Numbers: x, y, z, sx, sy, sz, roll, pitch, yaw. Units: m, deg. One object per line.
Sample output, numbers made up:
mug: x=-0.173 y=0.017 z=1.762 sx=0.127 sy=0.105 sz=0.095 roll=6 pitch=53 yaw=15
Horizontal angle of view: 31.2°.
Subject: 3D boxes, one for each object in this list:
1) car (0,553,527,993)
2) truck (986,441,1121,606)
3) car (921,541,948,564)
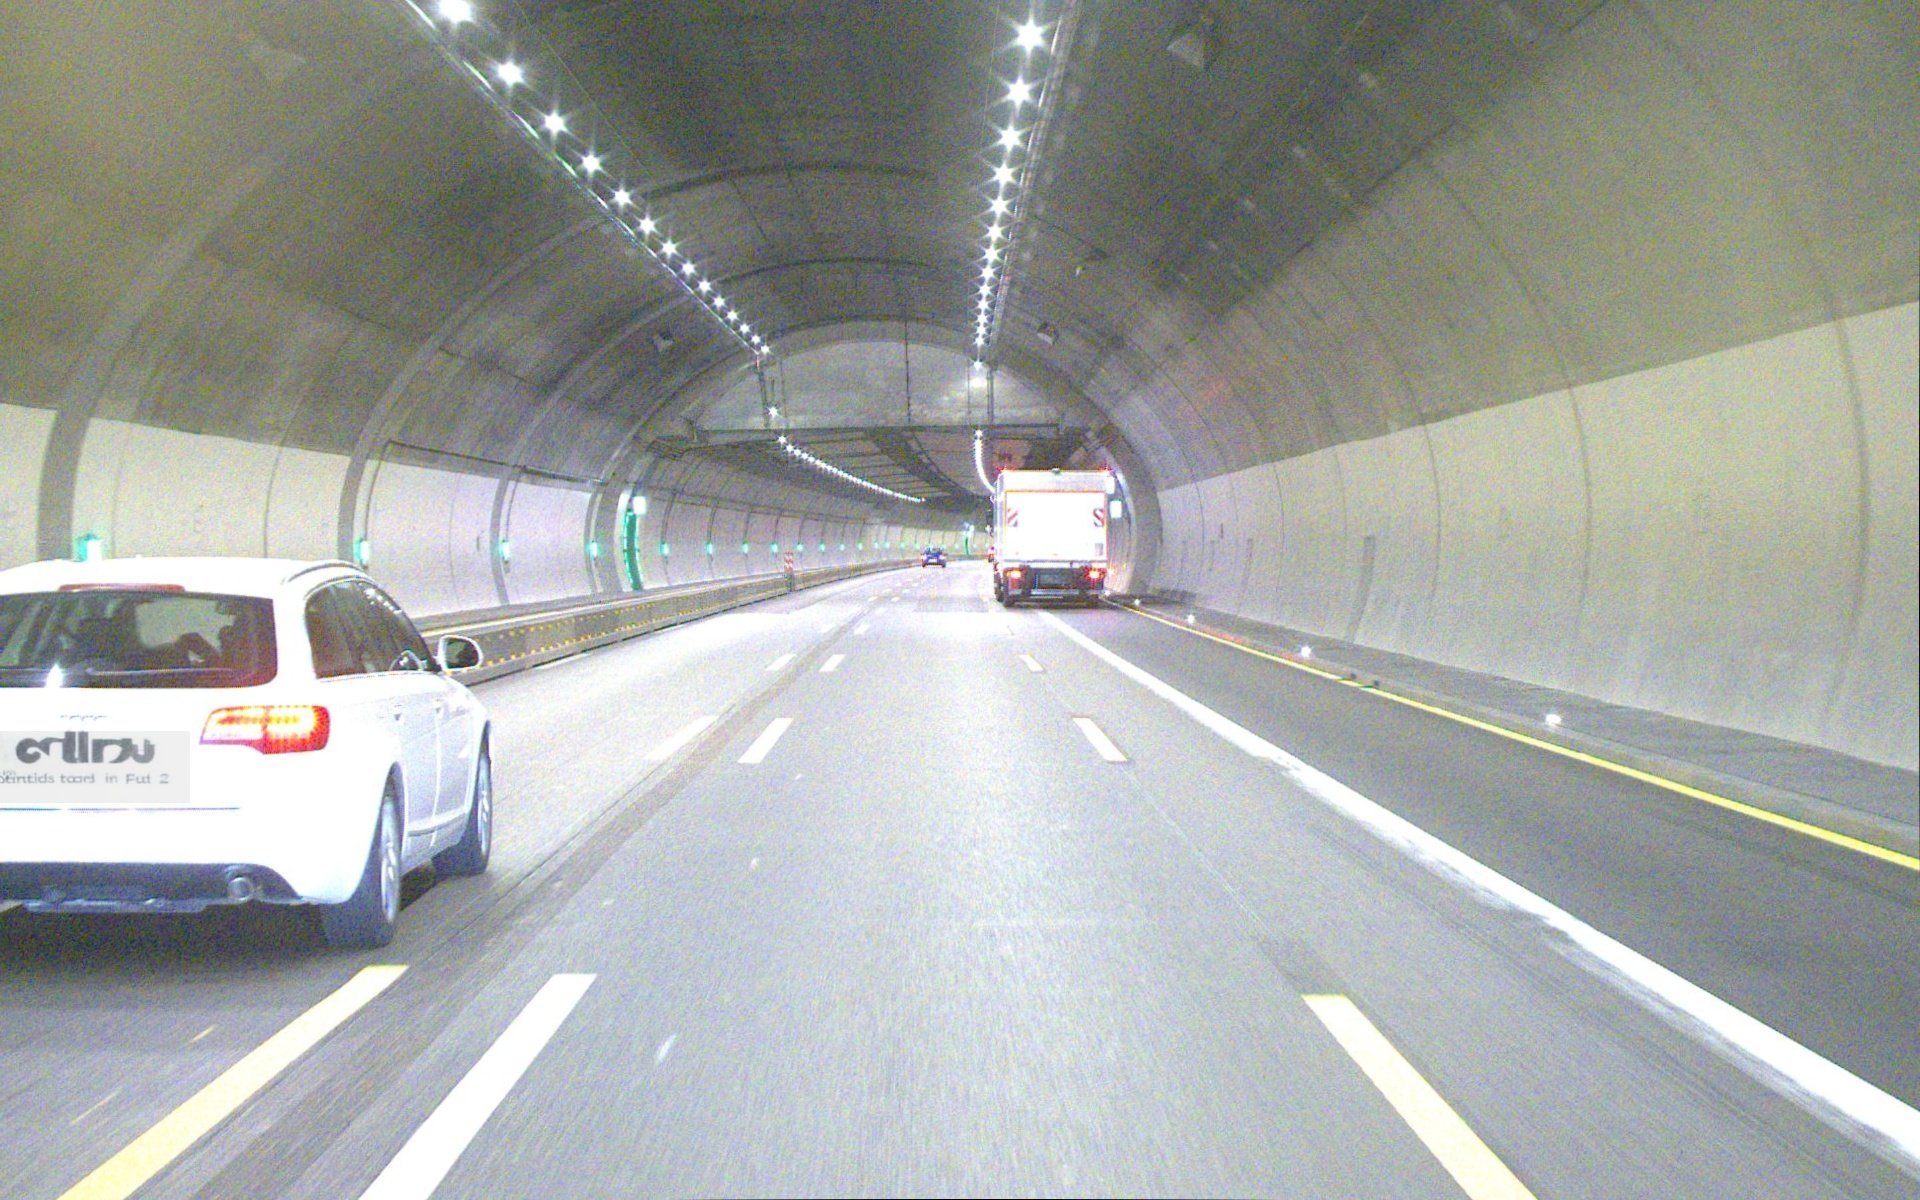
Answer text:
car: x=-2.990 y=0.555 z=14.043 sx=1.903 sy=1.480 sz=4.944 roll=0 pitch=1 yaw=-1
truck: x=2.303 y=-1.869 z=88.292 sx=3.092 sy=3.904 sz=10.368 roll=-1 pitch=0 yaw=0
car: x=-1.756 y=-3.273 z=236.515 sx=1.758 sy=1.456 sz=4.119 roll=-2 pitch=2 yaw=0
